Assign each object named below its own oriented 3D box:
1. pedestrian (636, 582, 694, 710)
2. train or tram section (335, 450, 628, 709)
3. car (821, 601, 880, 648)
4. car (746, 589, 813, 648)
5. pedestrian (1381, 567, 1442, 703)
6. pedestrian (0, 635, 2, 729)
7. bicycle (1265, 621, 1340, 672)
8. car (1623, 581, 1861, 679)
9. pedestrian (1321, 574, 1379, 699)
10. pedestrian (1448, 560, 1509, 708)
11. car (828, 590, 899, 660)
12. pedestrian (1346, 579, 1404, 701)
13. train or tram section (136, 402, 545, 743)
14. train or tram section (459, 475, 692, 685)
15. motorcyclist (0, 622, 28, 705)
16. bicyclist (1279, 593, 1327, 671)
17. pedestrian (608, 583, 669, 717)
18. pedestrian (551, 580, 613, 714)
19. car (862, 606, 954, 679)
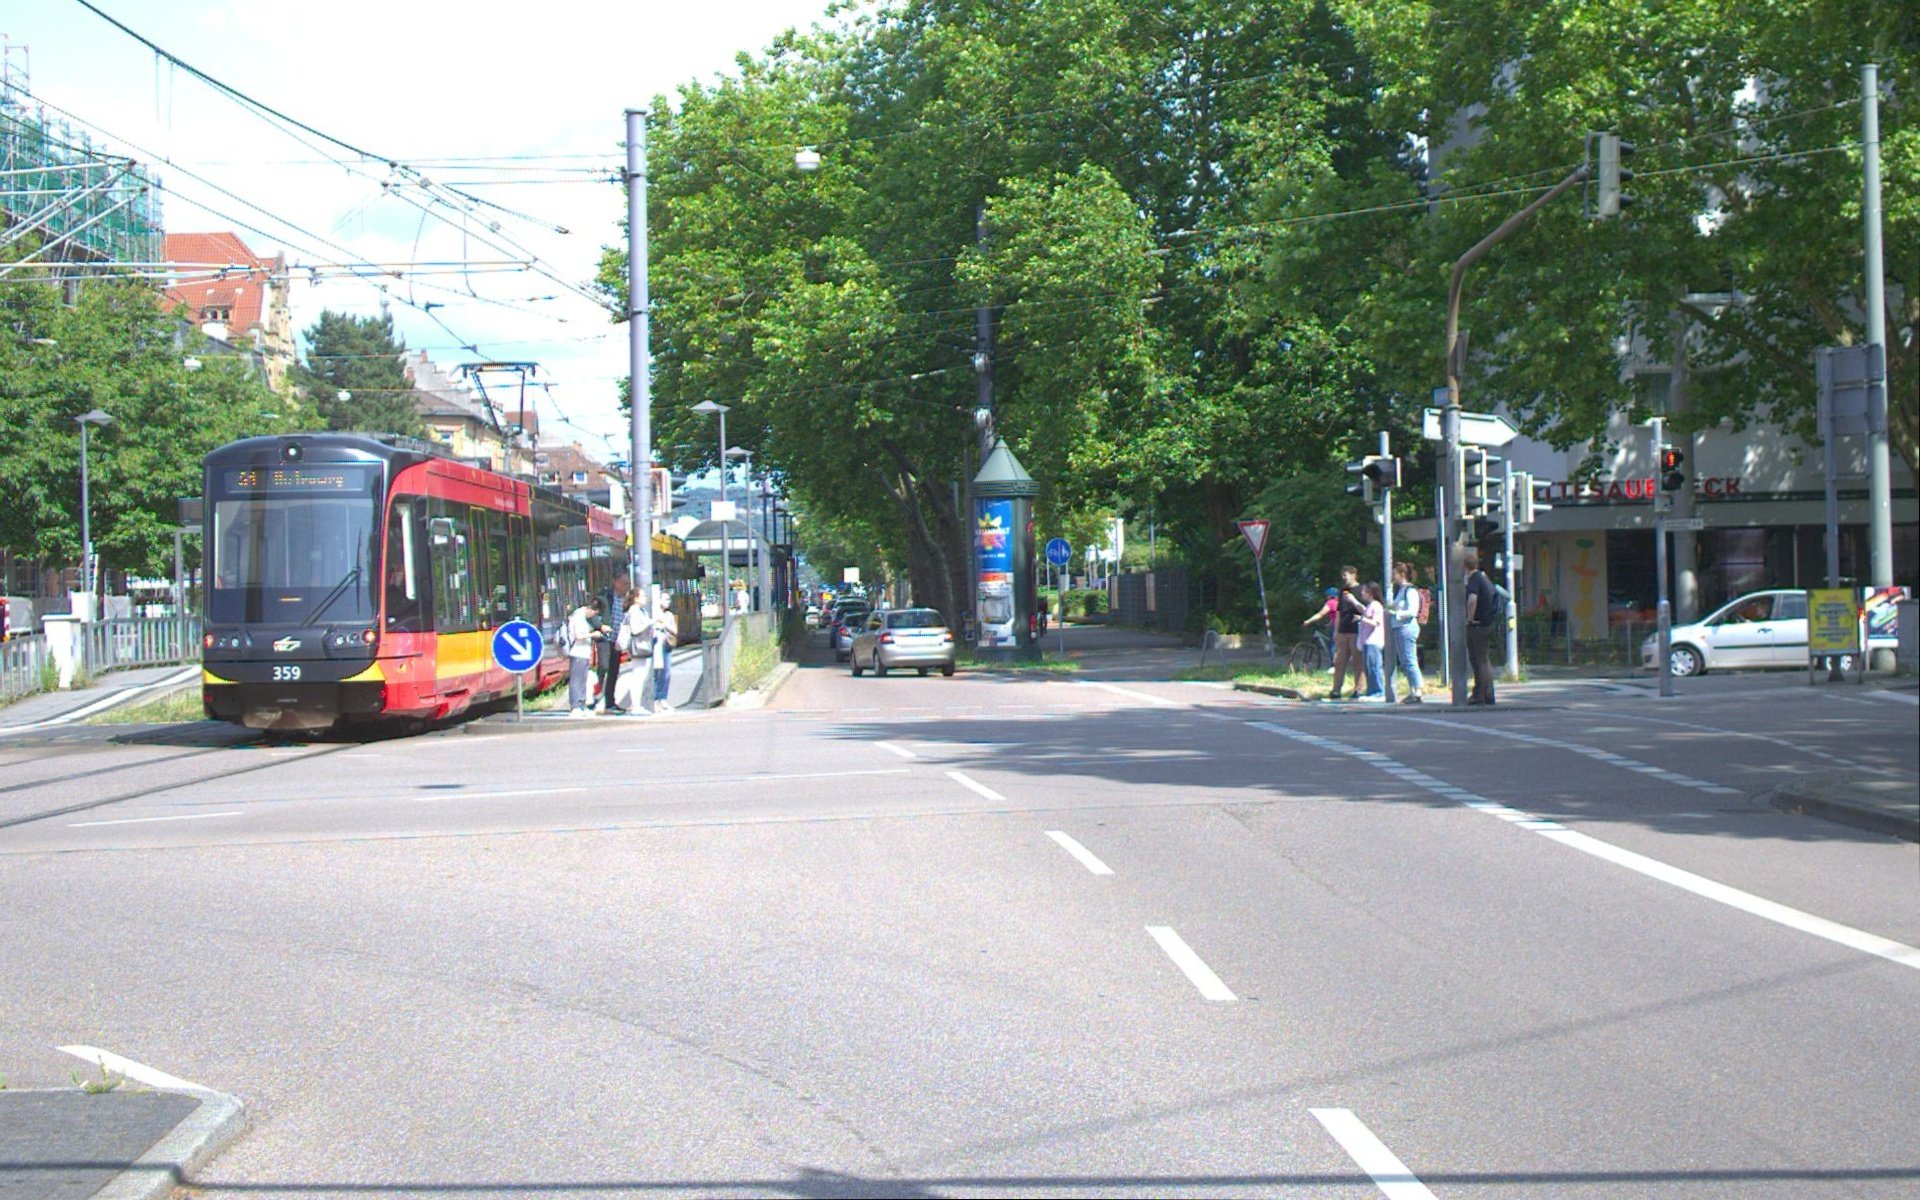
[{"bbox_3d":[-3.979,0.621,46.401,0.669,1.697,0.648,-2,0,1],"label":"pedestrian"},{"bbox_3d":[-7.231,-0.312,53.693,2.806,3.549,11.181,-2,0,1],"label":"train or tram section"},{"bbox_3d":[-3.217,0.692,100.486,1.485,1.310,4.001,-1,0,-5],"label":"car"},{"bbox_3d":[-5.691,0.574,109.005,1.815,1.798,4.000,-2,0,1],"label":"car"},{"bbox_3d":[5.815,0.444,44.281,0.527,1.729,0.556,-2,0,-23],"label":"pedestrian"},{"bbox_3d":[-13.064,0.704,45.077,0.738,2.007,0.704,-1,0,4],"label":"pedestrian"},{"bbox_3d":[6.187,0.836,62.230,0.615,0.877,2.538,-2,0,-11],"label":"bicycle"},{"bbox_3d":[12.834,0.489,56.387,3.663,1.479,1.735,-2,0,17],"label":"car"},{"bbox_3d":[5.235,0.487,46.161,0.510,1.665,0.556,-2,0,-23],"label":"pedestrian"},{"bbox_3d":[6.443,0.422,42.700,0.481,1.819,0.555,-2,0,41],"label":"pedestrian"},{"bbox_3d":[-2.849,0.709,100.996,1.993,2.007,4.000,0,0,-3],"label":"car"},{"bbox_3d":[5.501,0.523,45.611,0.510,1.592,0.556,-2,0,-23],"label":"pedestrian"},{"bbox_3d":[-7.306,-0.316,42.399,2.796,3.549,11.377,-2,0,0],"label":"train or tram section"},{"bbox_3d":[-7.097,-0.372,65.341,2.806,3.549,12.156,-2,0,1],"label":"train or tram section"},{"bbox_3d":[-16.576,1.083,58.919,0.893,1.399,1.088,-1,0,-1],"label":"motorcyclist"},{"bbox_3d":[6.195,0.572,62.118,0.615,1.380,0.879,-2,0,-11],"label":"bicyclist"},{"bbox_3d":[-4.148,0.645,44.339,0.669,1.697,0.648,-2,0,1],"label":"pedestrian"},{"bbox_3d":[-4.880,0.605,44.401,0.669,1.697,0.648,-2,0,1],"label":"pedestrian"},{"bbox_3d":[-1.128,0.885,73.323,1.748,1.448,3.606,-2,0,-4],"label":"car"}]
